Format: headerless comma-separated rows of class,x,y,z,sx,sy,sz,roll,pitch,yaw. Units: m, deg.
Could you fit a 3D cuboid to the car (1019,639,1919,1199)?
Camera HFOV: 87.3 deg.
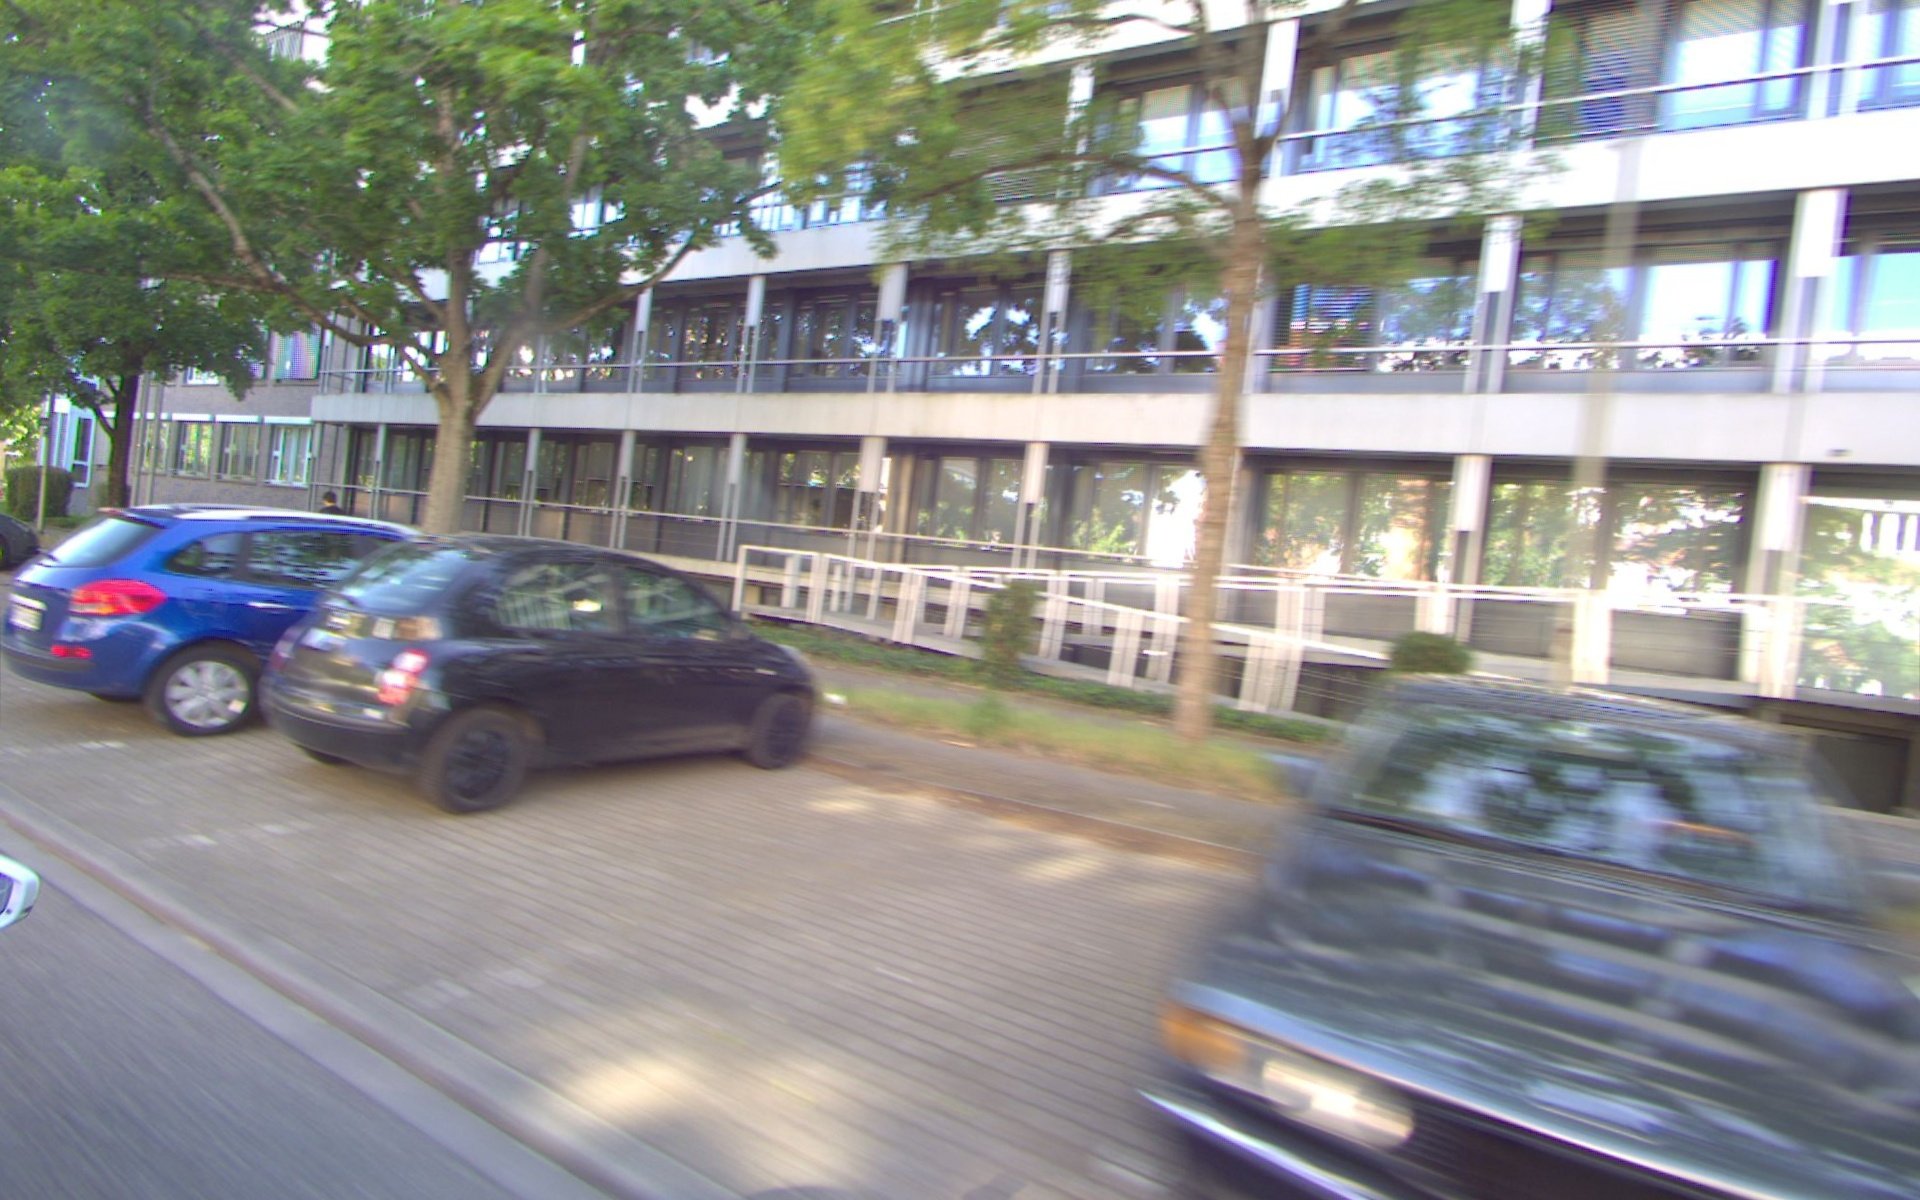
car,2.198,0.979,3.685,1.997,1.438,4.829,7,2,29

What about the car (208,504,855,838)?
car,-2.593,0.369,6.888,1.782,1.534,3.643,7,2,31

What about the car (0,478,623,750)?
car,-4.922,0.091,7.959,1.783,1.534,3.950,7,2,32

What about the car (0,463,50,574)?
car,-16.824,-1.450,15.063,1.781,1.726,4.356,7,2,28

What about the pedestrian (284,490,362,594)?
pedestrian,-11.614,-1.058,18.332,1.171,1.768,0.608,7,2,31
